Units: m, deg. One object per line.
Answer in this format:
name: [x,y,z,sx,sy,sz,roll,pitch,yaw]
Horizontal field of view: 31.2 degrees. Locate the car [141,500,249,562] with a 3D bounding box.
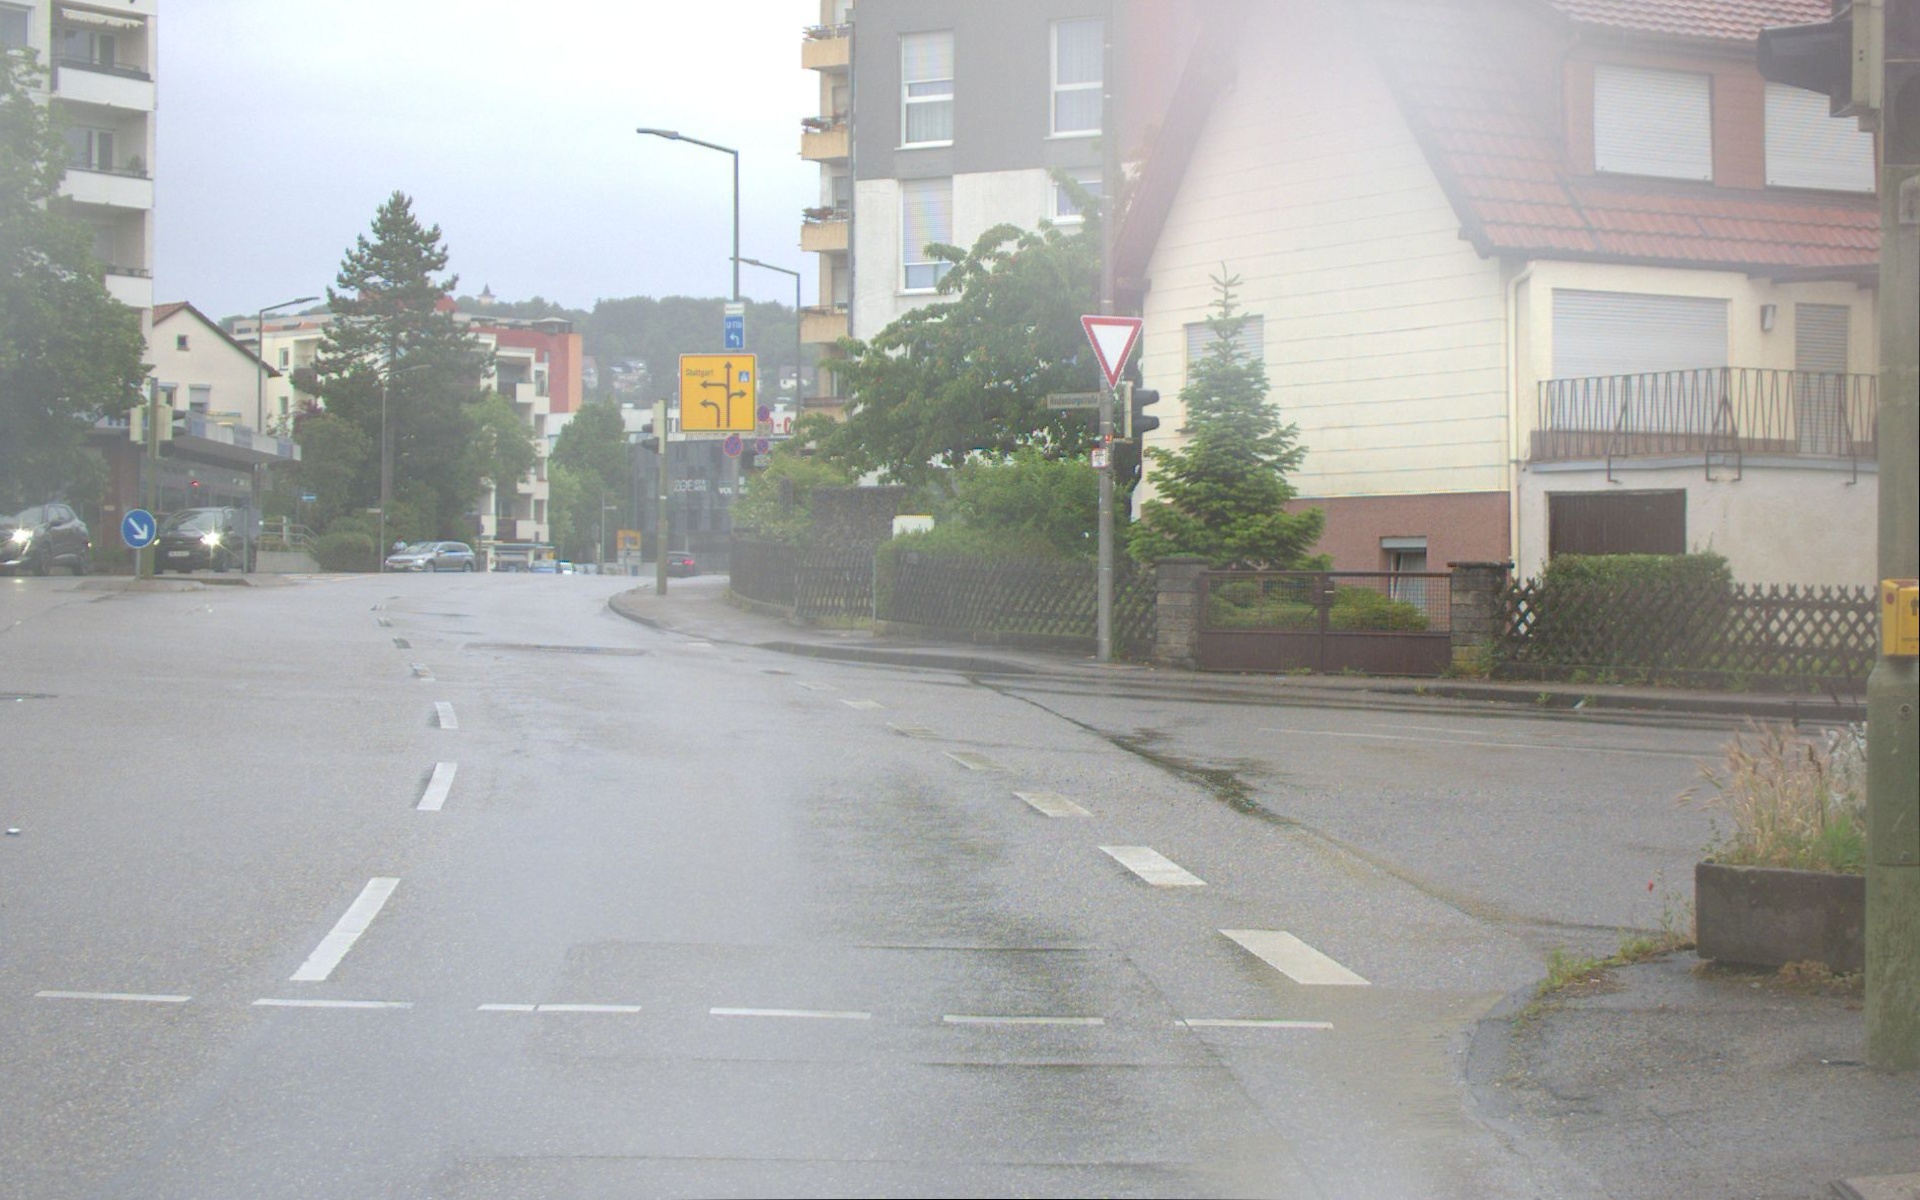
car: [-18.204,-1.667,81.920,1.778,1.415,3.831,1,2,-1]

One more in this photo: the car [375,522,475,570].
car: [-20.946,-2.129,134.697,3.847,1.809,1.762,1,2,-8]

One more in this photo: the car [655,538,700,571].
car: [-13.423,-2.161,163.449,1.813,1.481,4.189,0,2,0]

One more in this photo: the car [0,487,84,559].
car: [-18.829,-1.560,68.602,1.715,1.382,4.021,1,2,-1]
